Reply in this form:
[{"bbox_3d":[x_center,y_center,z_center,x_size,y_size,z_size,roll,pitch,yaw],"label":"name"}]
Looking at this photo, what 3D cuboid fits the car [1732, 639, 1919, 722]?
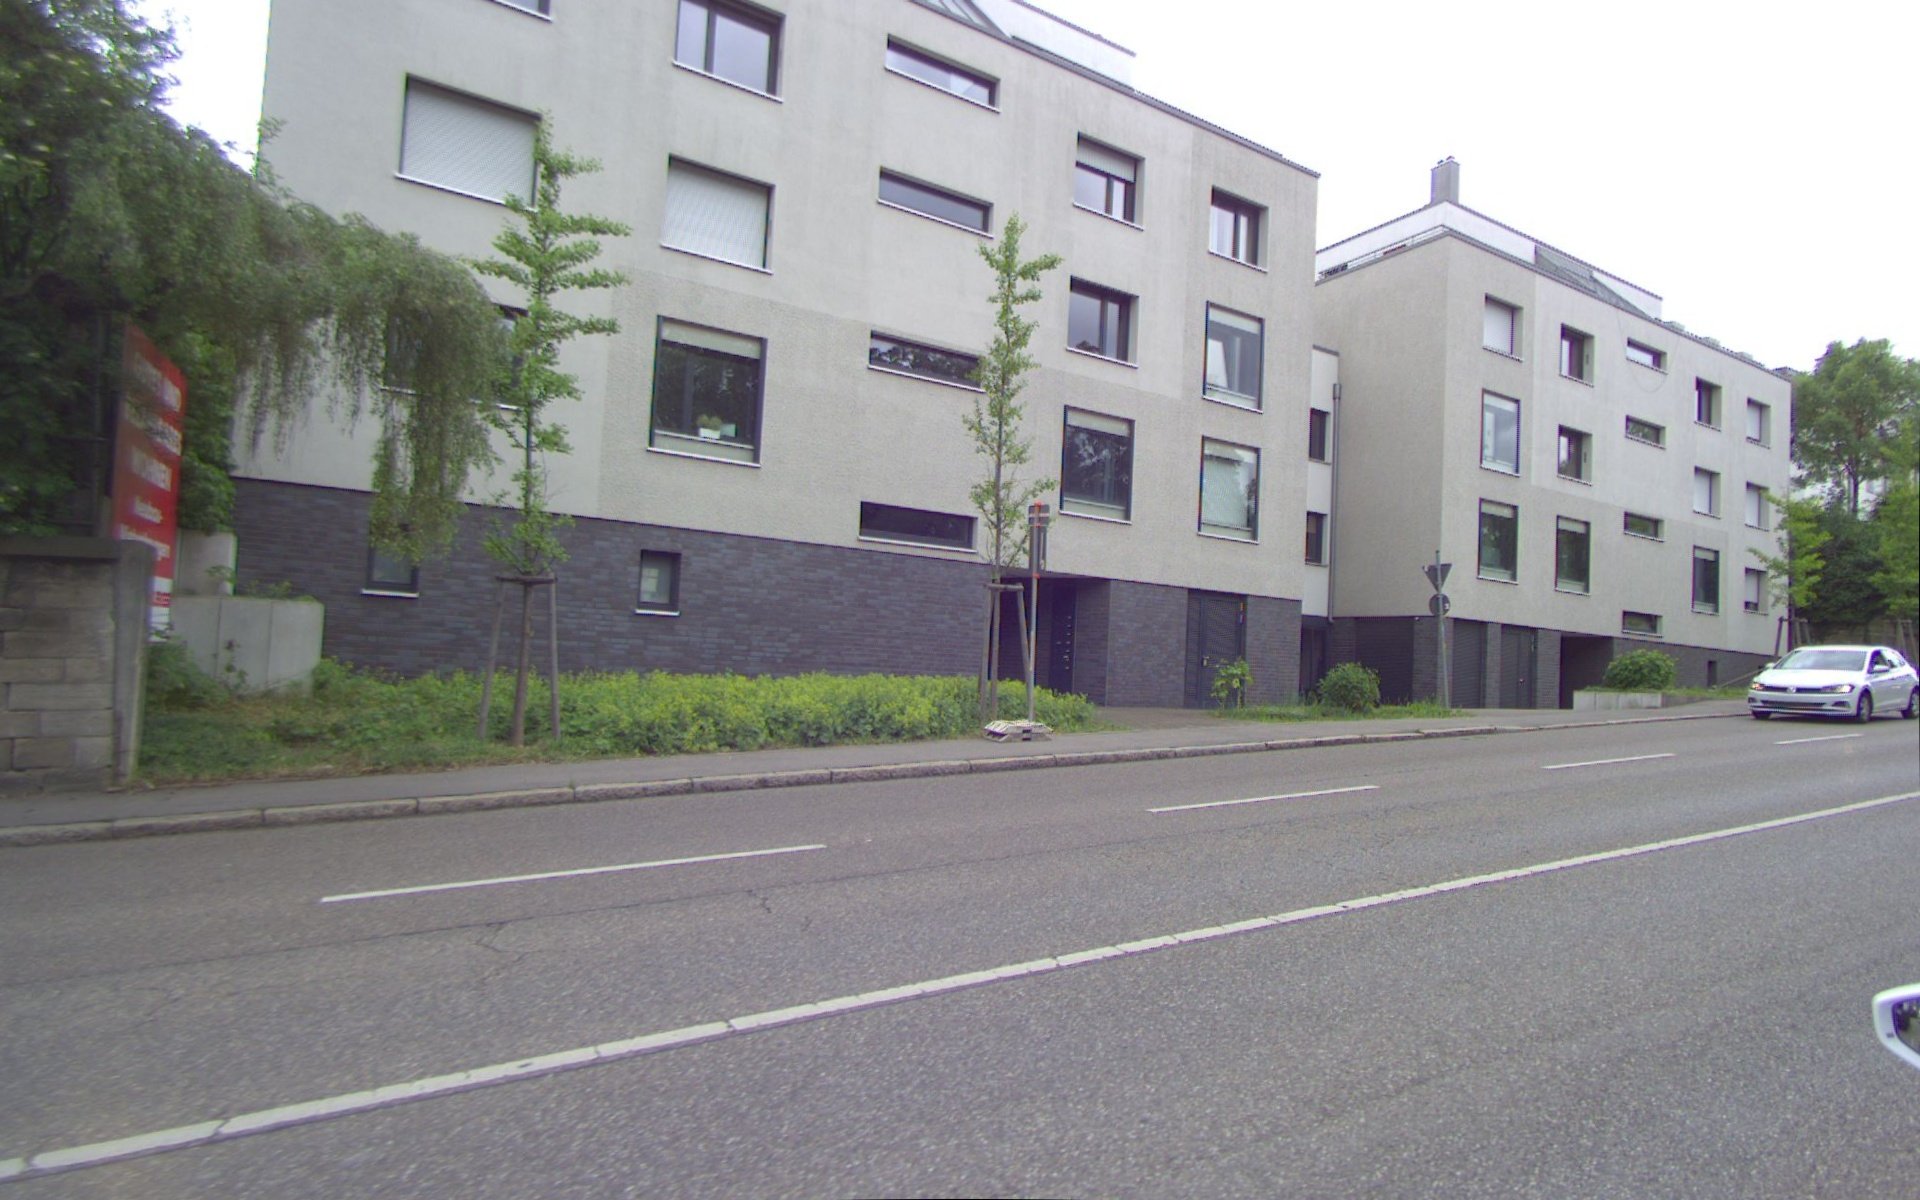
[{"bbox_3d":[17.199,1.514,19.755,4.142,1.483,1.765,1,-3,-30],"label":"car"}]
